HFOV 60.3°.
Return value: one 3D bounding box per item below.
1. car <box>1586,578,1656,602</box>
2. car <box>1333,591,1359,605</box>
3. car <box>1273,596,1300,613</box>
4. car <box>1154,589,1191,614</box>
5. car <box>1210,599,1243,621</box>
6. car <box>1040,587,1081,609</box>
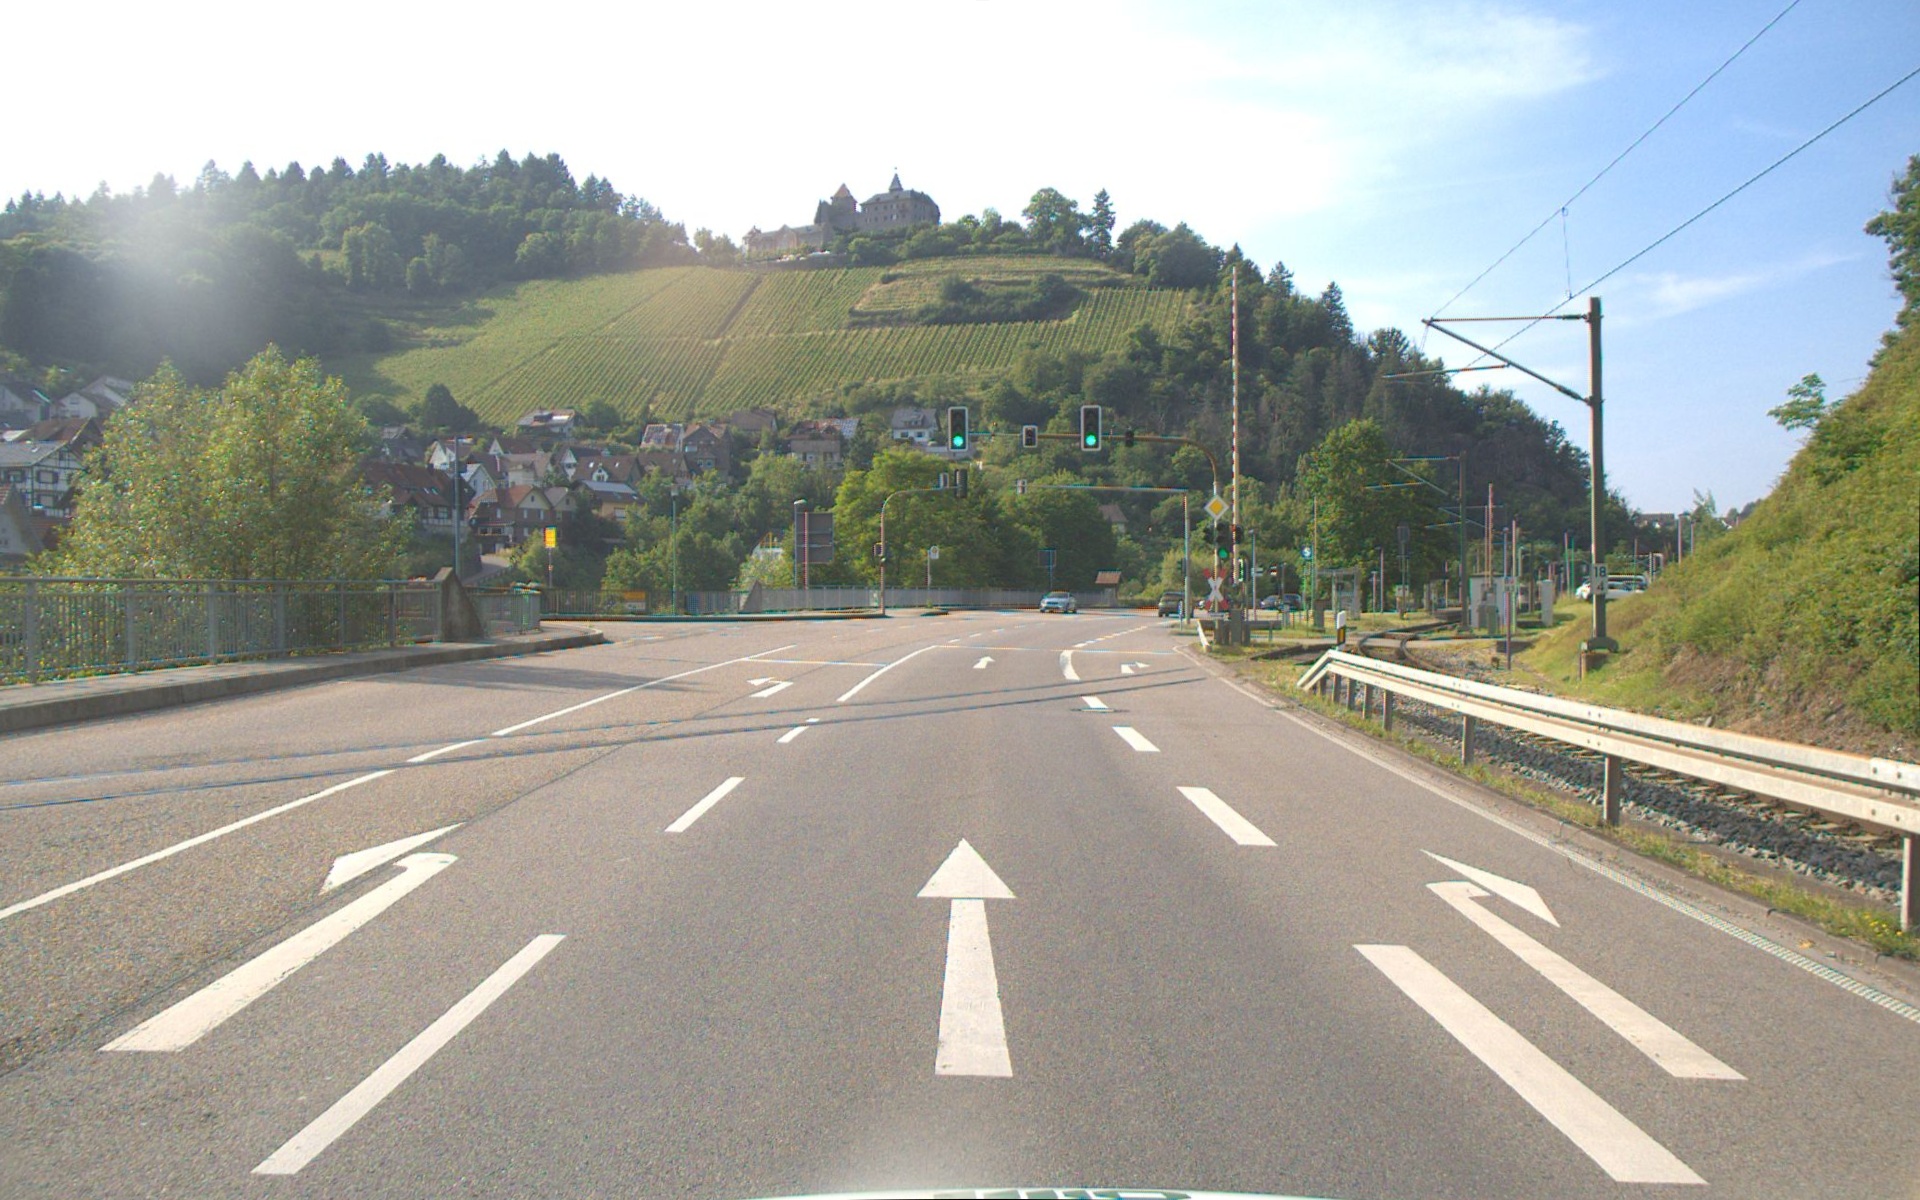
[{"bbox_3d":[40.993,-0.633,102.608,4.012,1.422,1.809,0,0,22],"label":"car"},{"bbox_3d":[40.559,-0.210,173.718,1.773,1.433,3.769,-2,-1,26],"label":"car"},{"bbox_3d":[29.656,0.434,150.109,1.769,1.478,3.647,-1,-1,21],"label":"car"},{"bbox_3d":[12.693,0.097,98.553,1.692,1.482,3.412,-1,-1,16],"label":"car"},{"bbox_3d":[19.165,0.726,118.931,1.801,1.485,3.714,-1,-1,18],"label":"car"},{"bbox_3d":[6.184,-0.133,101.347,1.610,1.253,4.096,1,1,16],"label":"car"}]
